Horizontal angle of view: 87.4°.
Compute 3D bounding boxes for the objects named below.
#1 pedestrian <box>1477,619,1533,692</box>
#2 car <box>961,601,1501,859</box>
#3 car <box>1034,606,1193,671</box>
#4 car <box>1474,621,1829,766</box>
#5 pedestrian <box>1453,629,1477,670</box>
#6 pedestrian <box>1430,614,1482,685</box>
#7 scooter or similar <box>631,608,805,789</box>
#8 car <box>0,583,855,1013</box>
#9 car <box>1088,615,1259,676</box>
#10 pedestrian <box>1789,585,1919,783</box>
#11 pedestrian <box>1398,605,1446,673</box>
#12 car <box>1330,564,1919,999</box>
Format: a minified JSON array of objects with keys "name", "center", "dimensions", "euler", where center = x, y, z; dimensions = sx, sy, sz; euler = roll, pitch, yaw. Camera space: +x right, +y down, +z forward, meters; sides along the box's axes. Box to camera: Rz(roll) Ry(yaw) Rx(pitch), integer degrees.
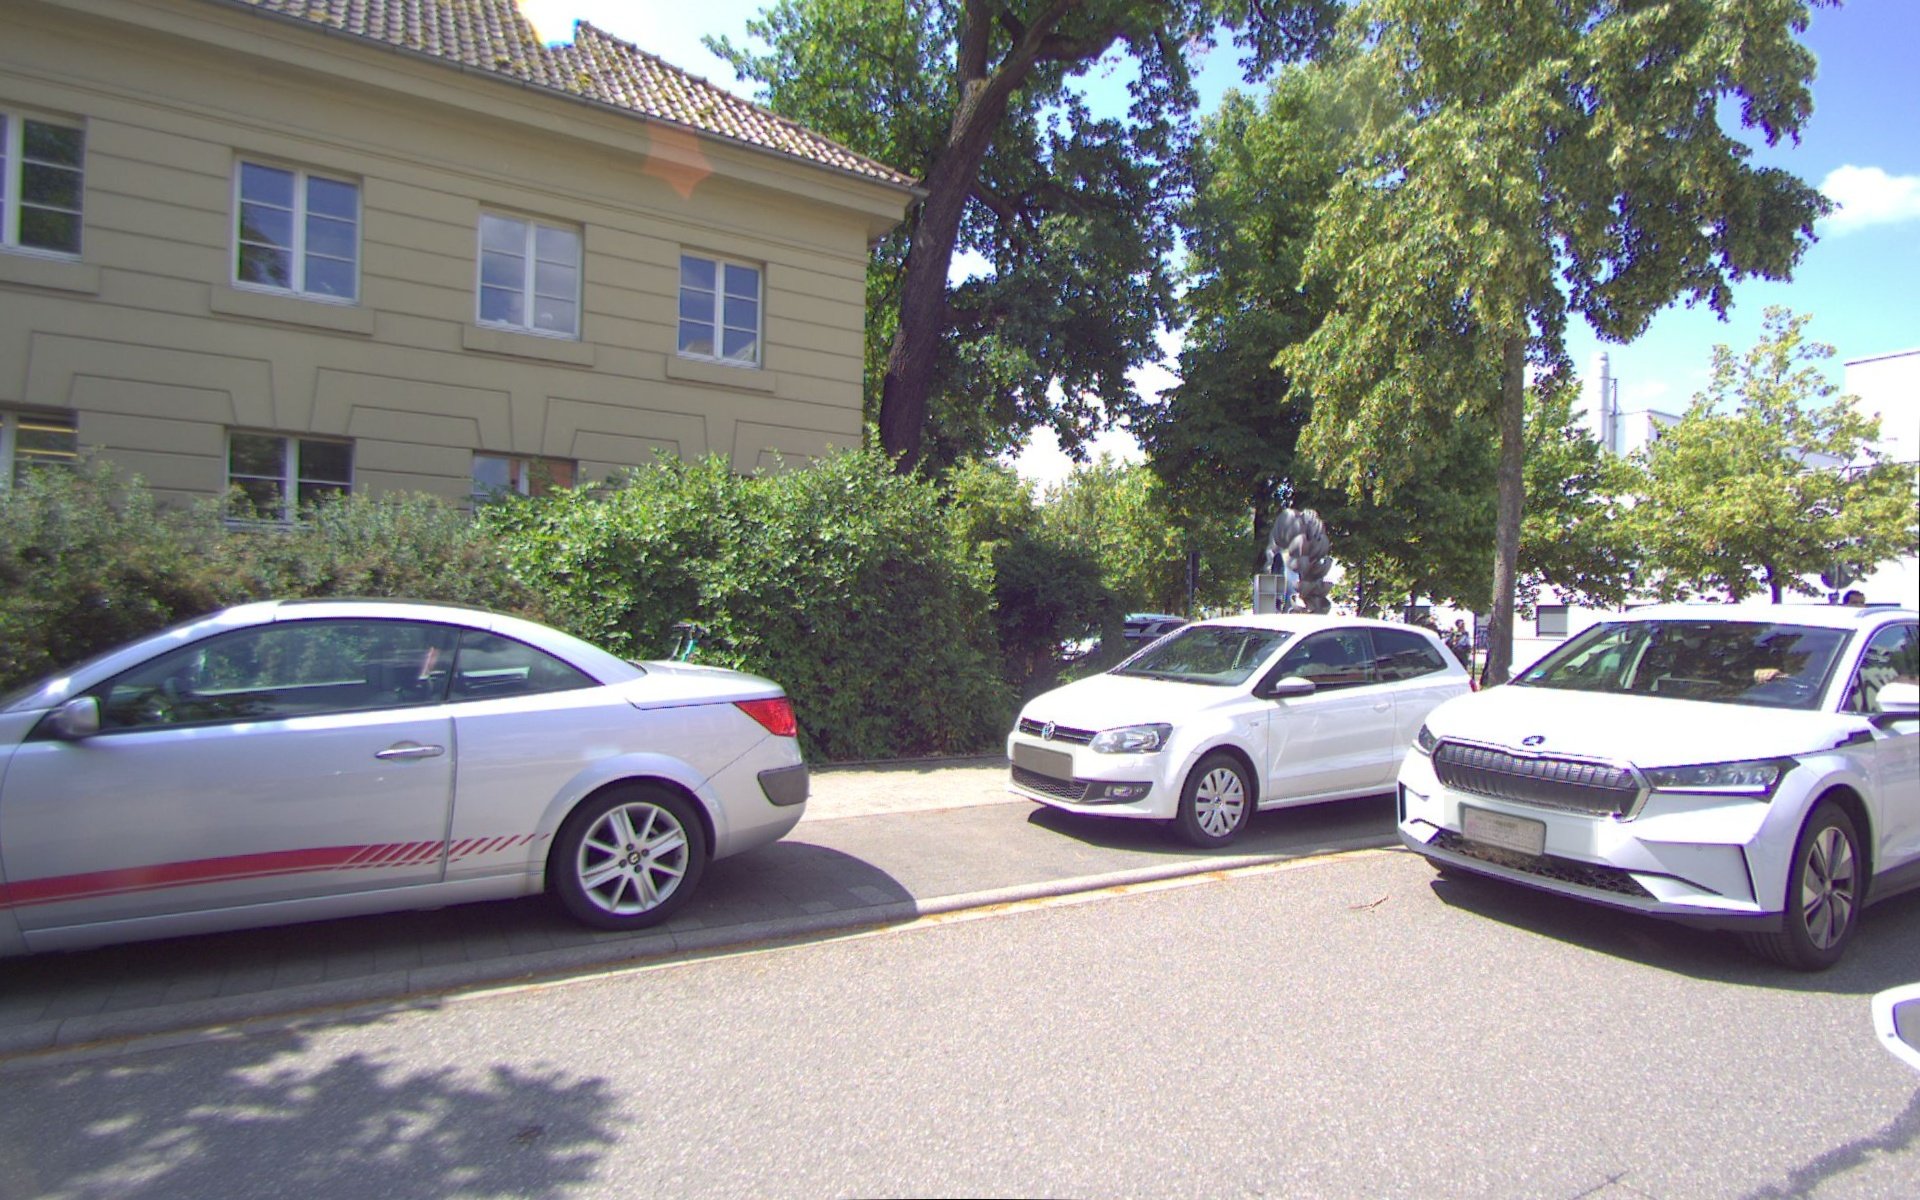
[{"name":"pedestrian","center":[13.219,1.339,24.386],"dimensions":[0.838,1.731,0.853],"euler":[0,-1,-4]},{"name":"car","center":[2.050,0.788,7.361],"dimensions":[3.763,1.430,1.654],"euler":[2,0,-31]},{"name":"car","center":[4.514,1.142,29.380],"dimensions":[4.389,1.792,1.919],"euler":[1,-4,-31]},{"name":"car","center":[7.545,0.927,10.897],"dimensions":[3.880,1.318,1.638],"euler":[2,-2,-29]},{"name":"pedestrian","center":[22.257,2.160,44.288],"dimensions":[0.629,1.772,0.690],"euler":[2,-1,-29]},{"name":"pedestrian","center":[12.395,1.226,25.129],"dimensions":[0.838,1.731,0.853],"euler":[0,-1,-7]},{"name":"scooter or similar","center":[-1.870,0.732,7.777],"dimensions":[1.214,1.304,0.522],"euler":[1,-3,-30]},{"name":"car","center":[-2.714,0.666,4.457],"dimensions":[4.114,1.361,1.718],"euler":[2,1,-29]},{"name":"car","center":[5.776,1.221,27.078],"dimensions":[4.389,1.536,1.919],"euler":[1,-4,-31]},{"name":"pedestrian","center":[9.537,0.838,10.536],"dimensions":[1.167,1.928,1.008],"euler":[3,-1,-36]},{"name":"pedestrian","center":[12.267,1.015,26.695],"dimensions":[0.838,1.774,0.853],"euler":[0,-1,-6]},{"name":"car","center":[4.454,0.768,5.813],"dimensions":[4.469,1.640,1.908],"euler":[3,1,-31]}]
